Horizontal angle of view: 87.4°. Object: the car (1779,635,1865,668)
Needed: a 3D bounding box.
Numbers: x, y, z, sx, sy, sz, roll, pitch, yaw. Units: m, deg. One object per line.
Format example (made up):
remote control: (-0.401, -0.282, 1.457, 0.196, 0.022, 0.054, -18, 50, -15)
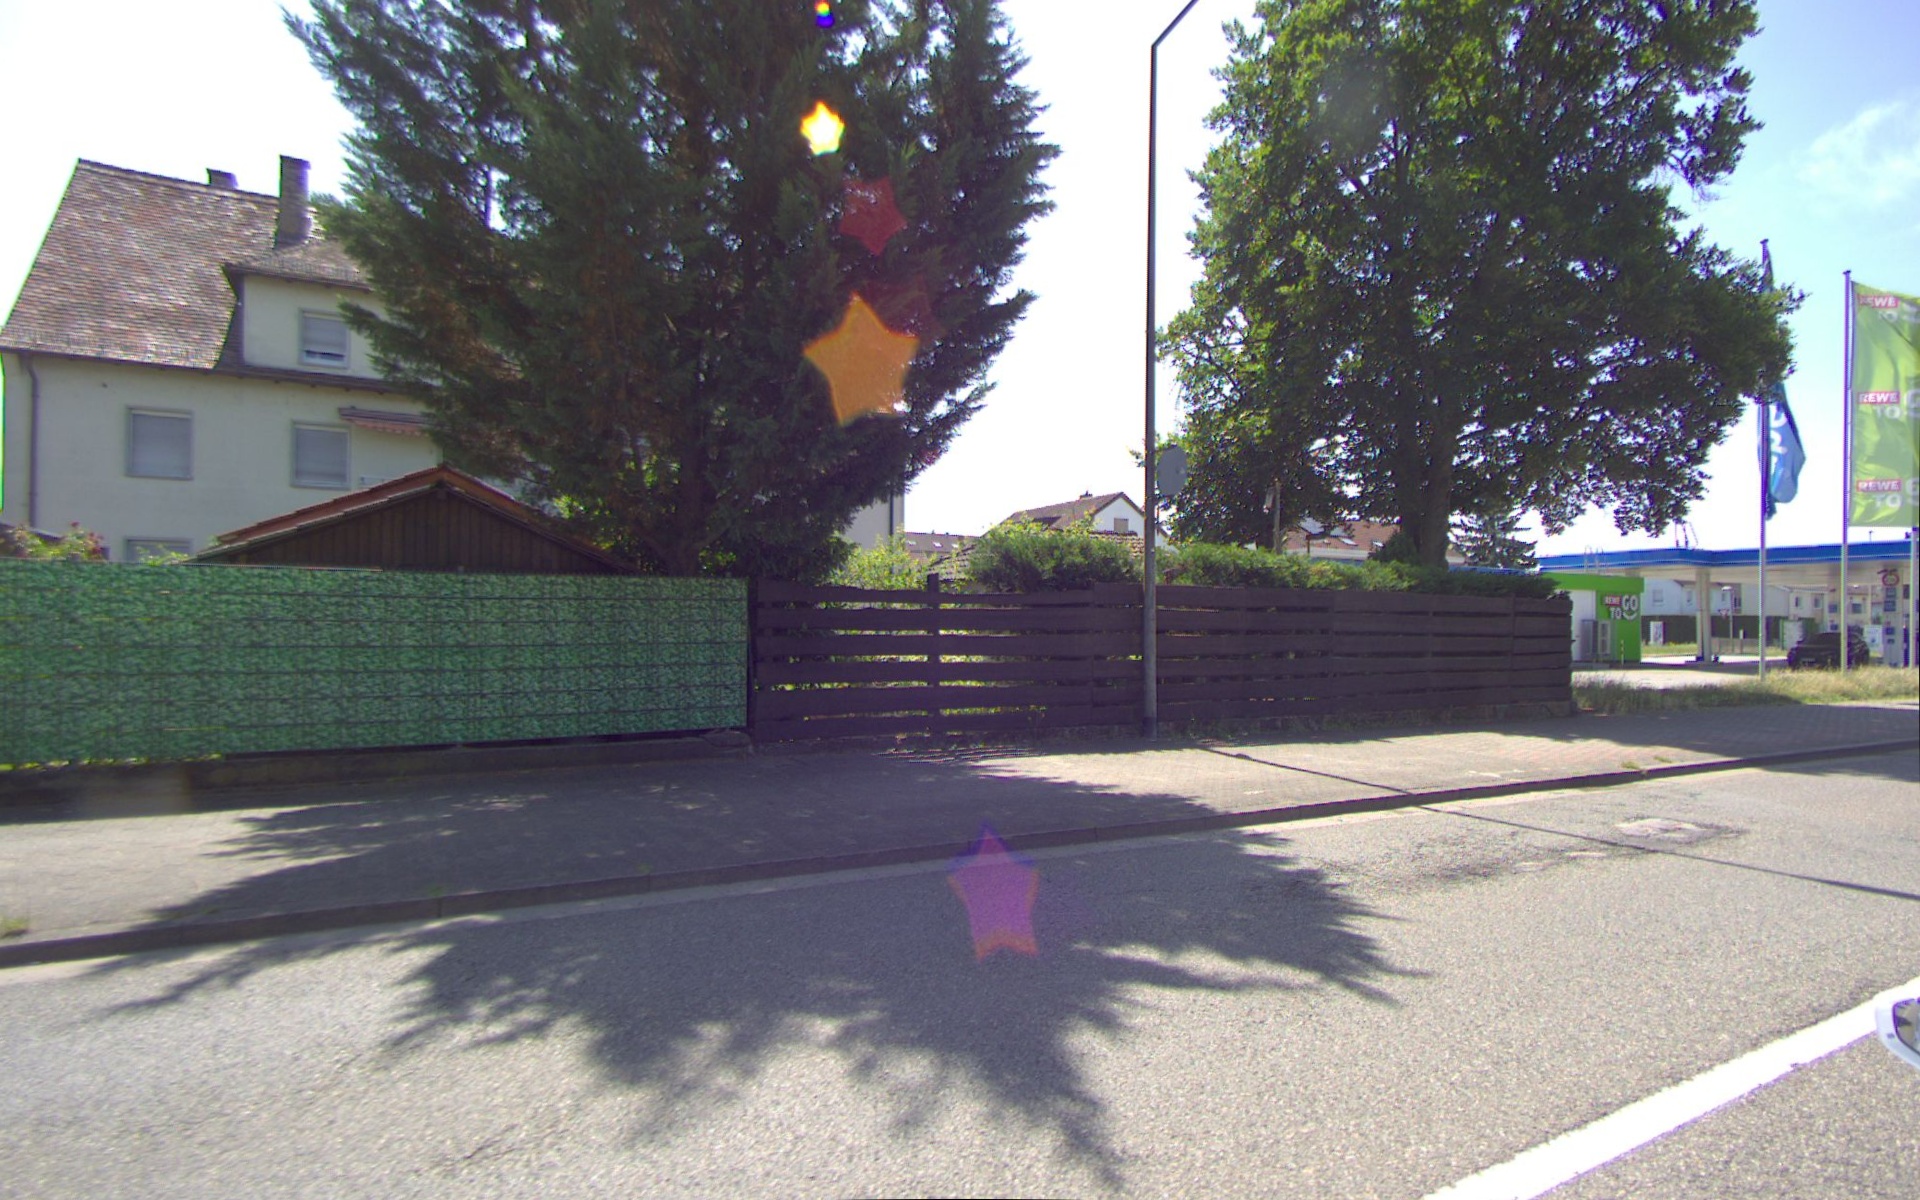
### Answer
car: (39.029, 2.294, 45.480, 3.950, 1.400, 1.663, 1, -1, -28)
